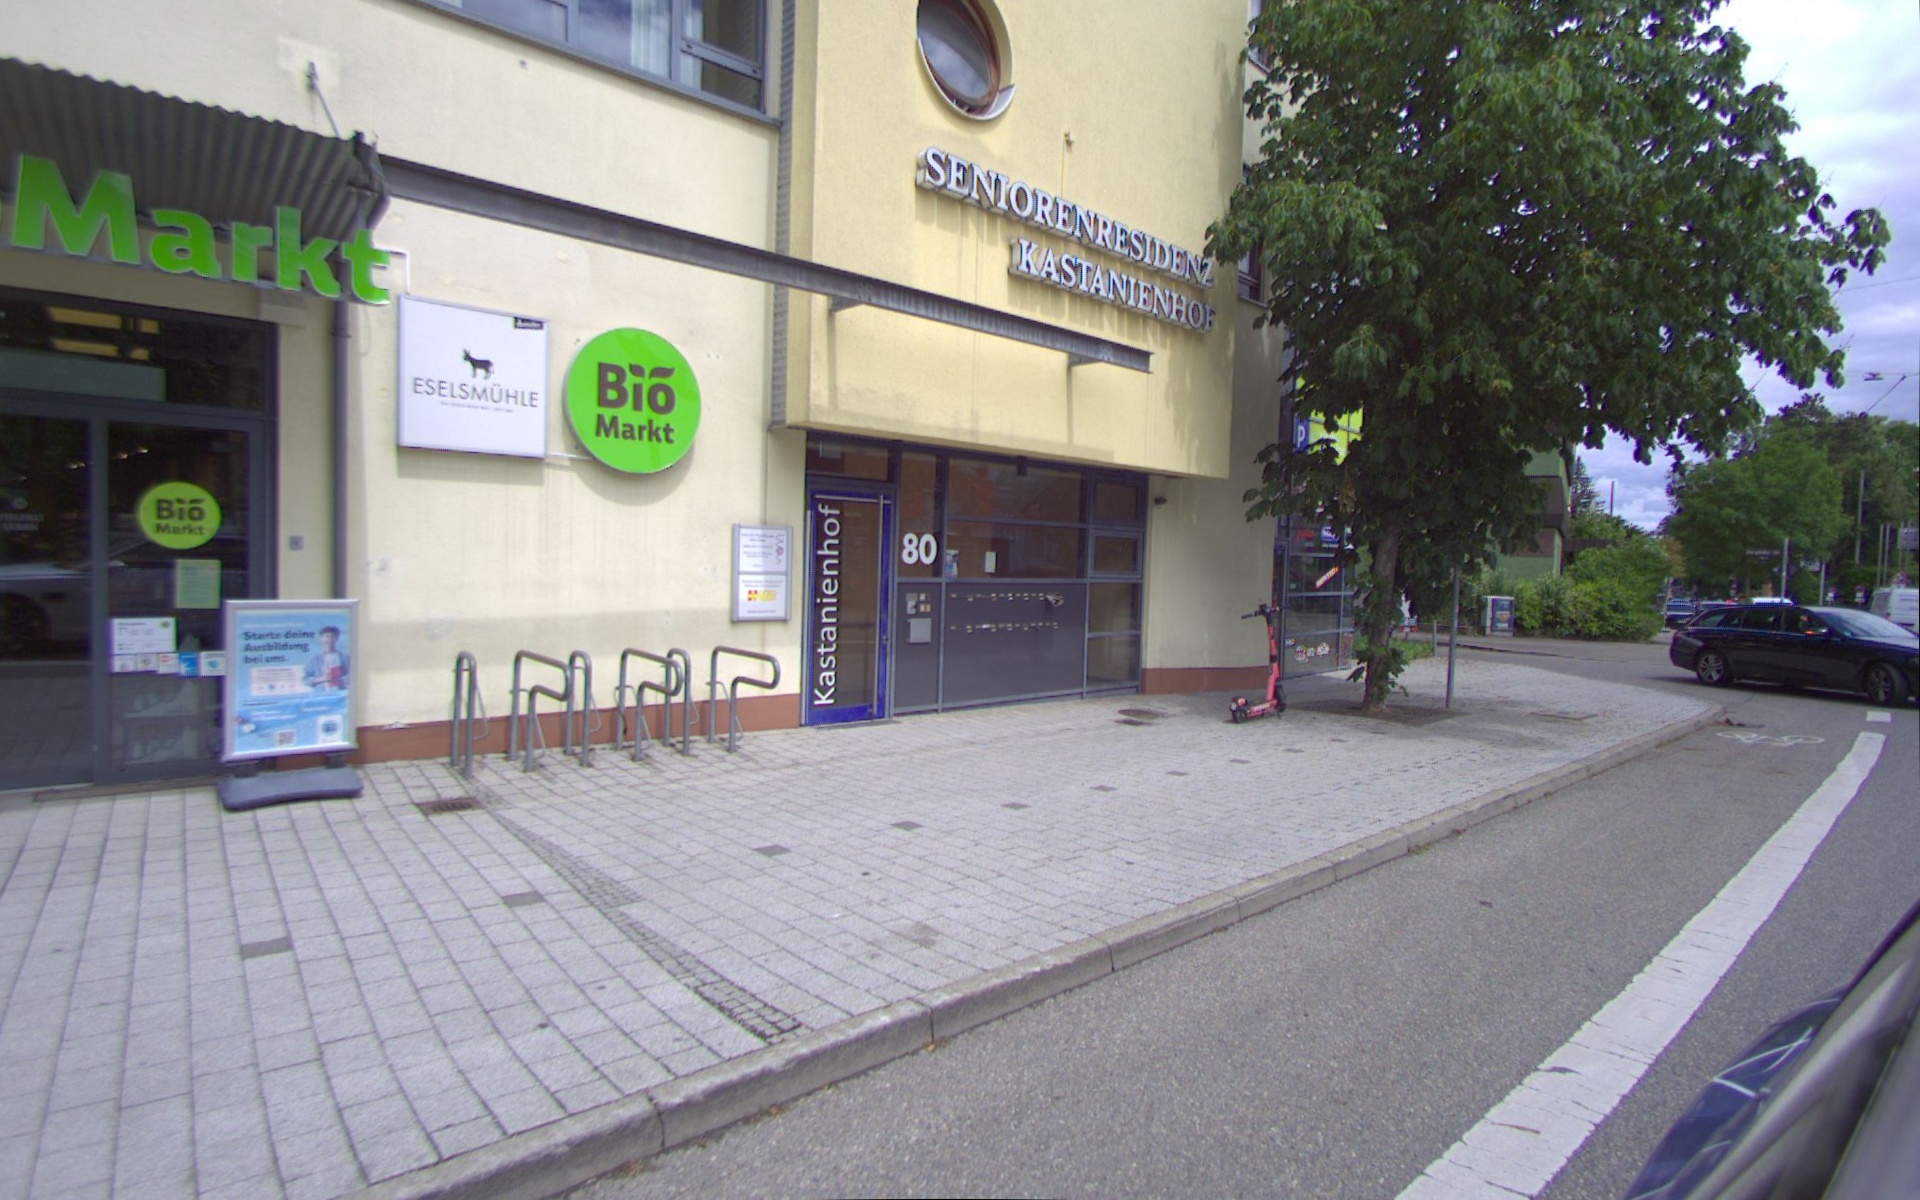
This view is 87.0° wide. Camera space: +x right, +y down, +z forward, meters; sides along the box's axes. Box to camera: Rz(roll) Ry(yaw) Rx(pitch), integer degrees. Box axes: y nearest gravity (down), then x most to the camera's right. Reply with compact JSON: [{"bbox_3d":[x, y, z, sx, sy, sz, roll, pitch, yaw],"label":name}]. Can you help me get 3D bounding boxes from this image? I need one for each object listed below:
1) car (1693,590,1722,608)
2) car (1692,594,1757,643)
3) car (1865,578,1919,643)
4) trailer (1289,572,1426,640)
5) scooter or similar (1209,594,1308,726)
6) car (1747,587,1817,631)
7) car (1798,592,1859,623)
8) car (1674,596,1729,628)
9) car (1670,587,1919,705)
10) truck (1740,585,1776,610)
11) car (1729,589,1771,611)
[{"bbox_3d":[74.283,-0.138,100.586,1.858,1.637,4.483,4,2,31],"label":"car"},{"bbox_3d":[29.773,0.694,39.505,1.684,1.687,4.407,3,1,34],"label":"car"},{"bbox_3d":[38.079,0.451,40.248,2.055,2.381,5.123,6,3,32],"label":"car"},{"bbox_3d":[10.942,0.139,27.967,1.370,1.601,3.163,1,3,-44],"label":"trailer"},{"bbox_3d":[3.281,0.618,11.070,1.435,1.332,0.381,-1,2,-45],"label":"scooter or similar"},{"bbox_3d":[37.892,0.379,46.736,1.952,1.829,4.379,1,2,32],"label":"car"},{"bbox_3d":[46.575,0.368,54.353,1.764,1.442,4.062,5,3,32],"label":"car"},{"bbox_3d":[40.055,0.598,54.735,1.976,1.465,4.698,3,3,32],"label":"car"},{"bbox_3d":[14.359,0.634,16.482,1.773,1.648,4.695,-1,1,-9],"label":"car"},{"bbox_3d":[83.144,-0.292,105.514,2.297,2.449,6.022,2,2,33],"label":"truck"},{"bbox_3d":[62.781,-0.007,80.458,1.820,1.541,4.132,3,3,27],"label":"car"}]
